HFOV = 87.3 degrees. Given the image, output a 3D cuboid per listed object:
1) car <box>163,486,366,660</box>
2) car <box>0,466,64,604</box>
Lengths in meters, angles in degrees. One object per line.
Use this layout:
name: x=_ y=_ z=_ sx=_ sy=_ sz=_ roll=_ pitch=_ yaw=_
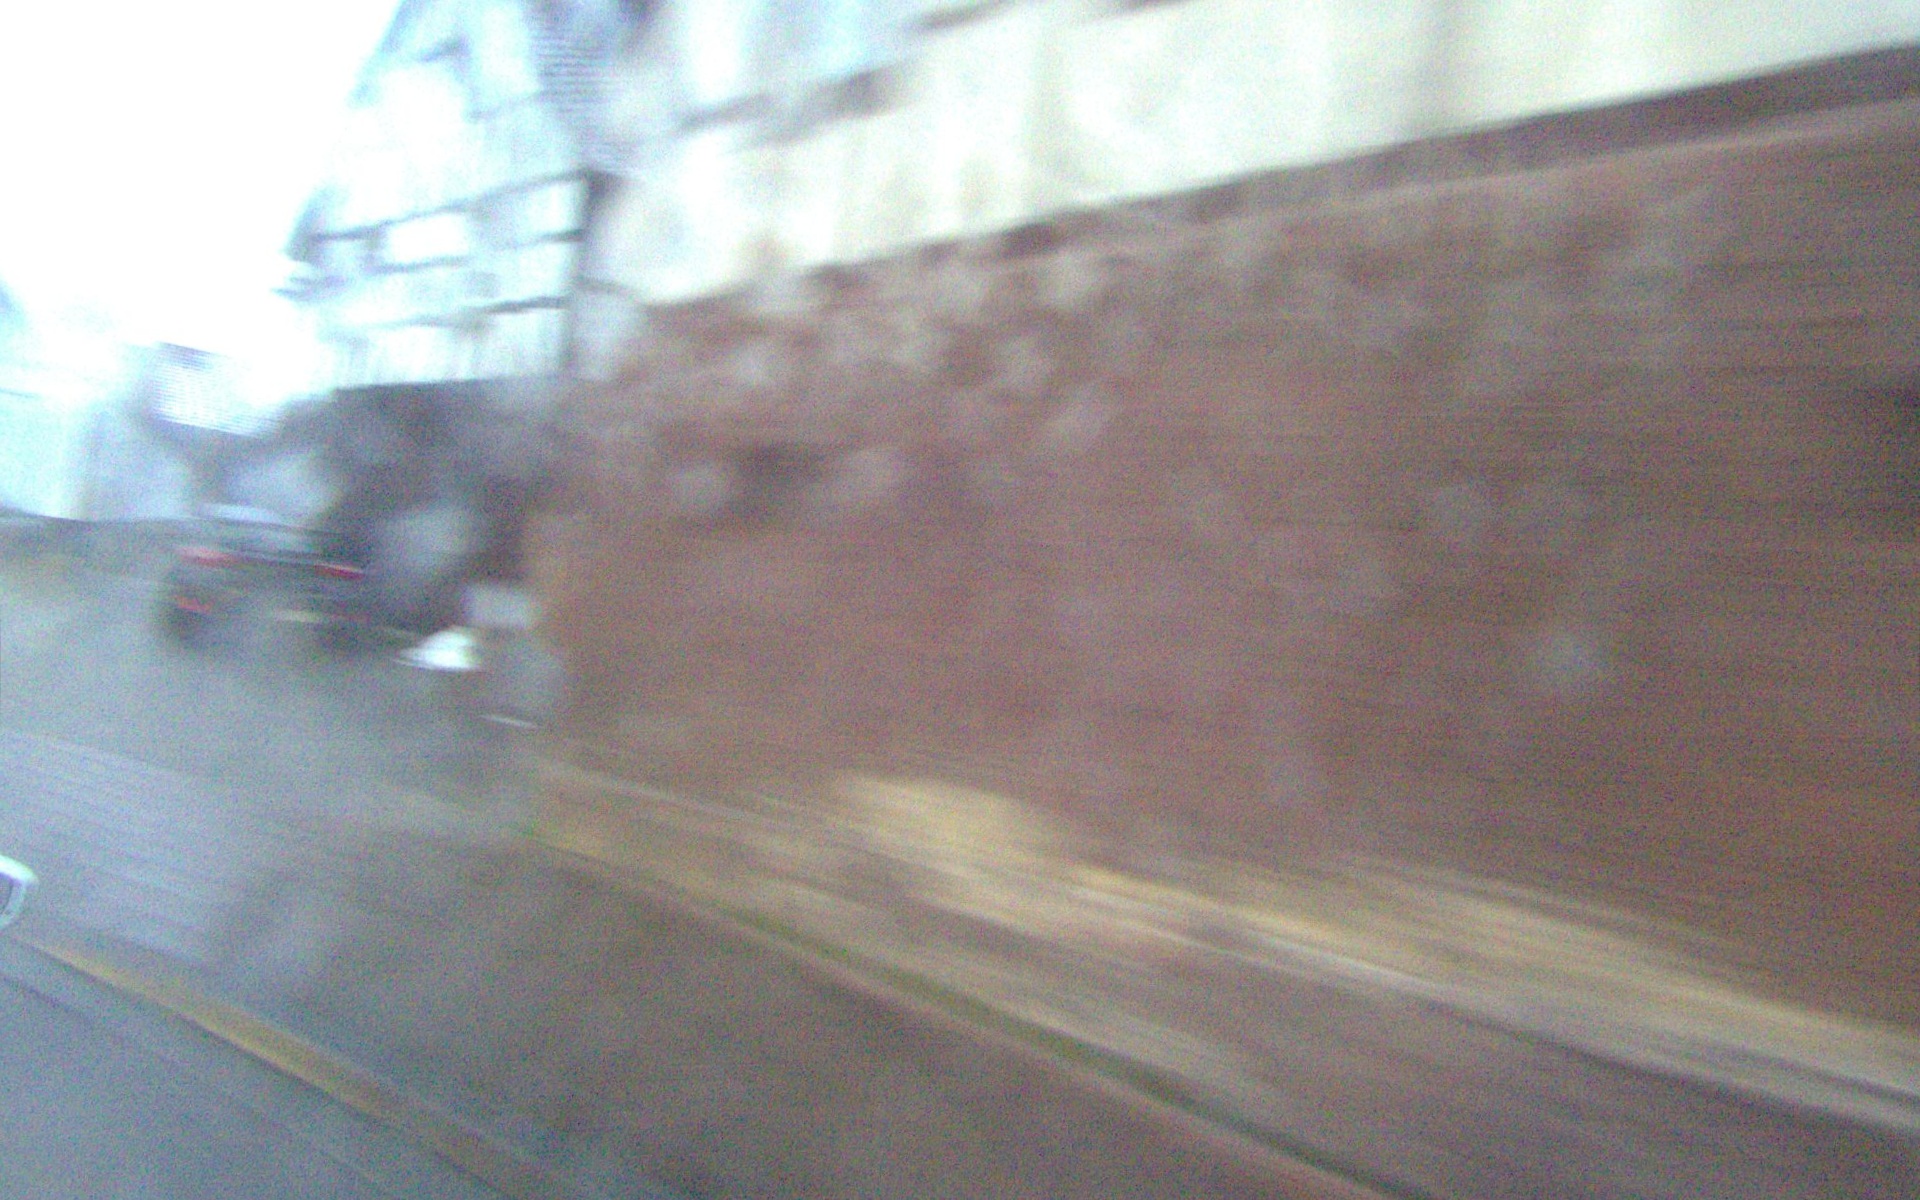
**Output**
car: x=-8.334 y=-0.398 z=11.900 sx=1.585 sy=1.536 sz=3.938 roll=5 pitch=3 yaw=-40
car: x=-11.702 y=-0.839 z=11.255 sx=1.797 sy=1.439 sz=4.000 roll=6 pitch=3 yaw=-33
